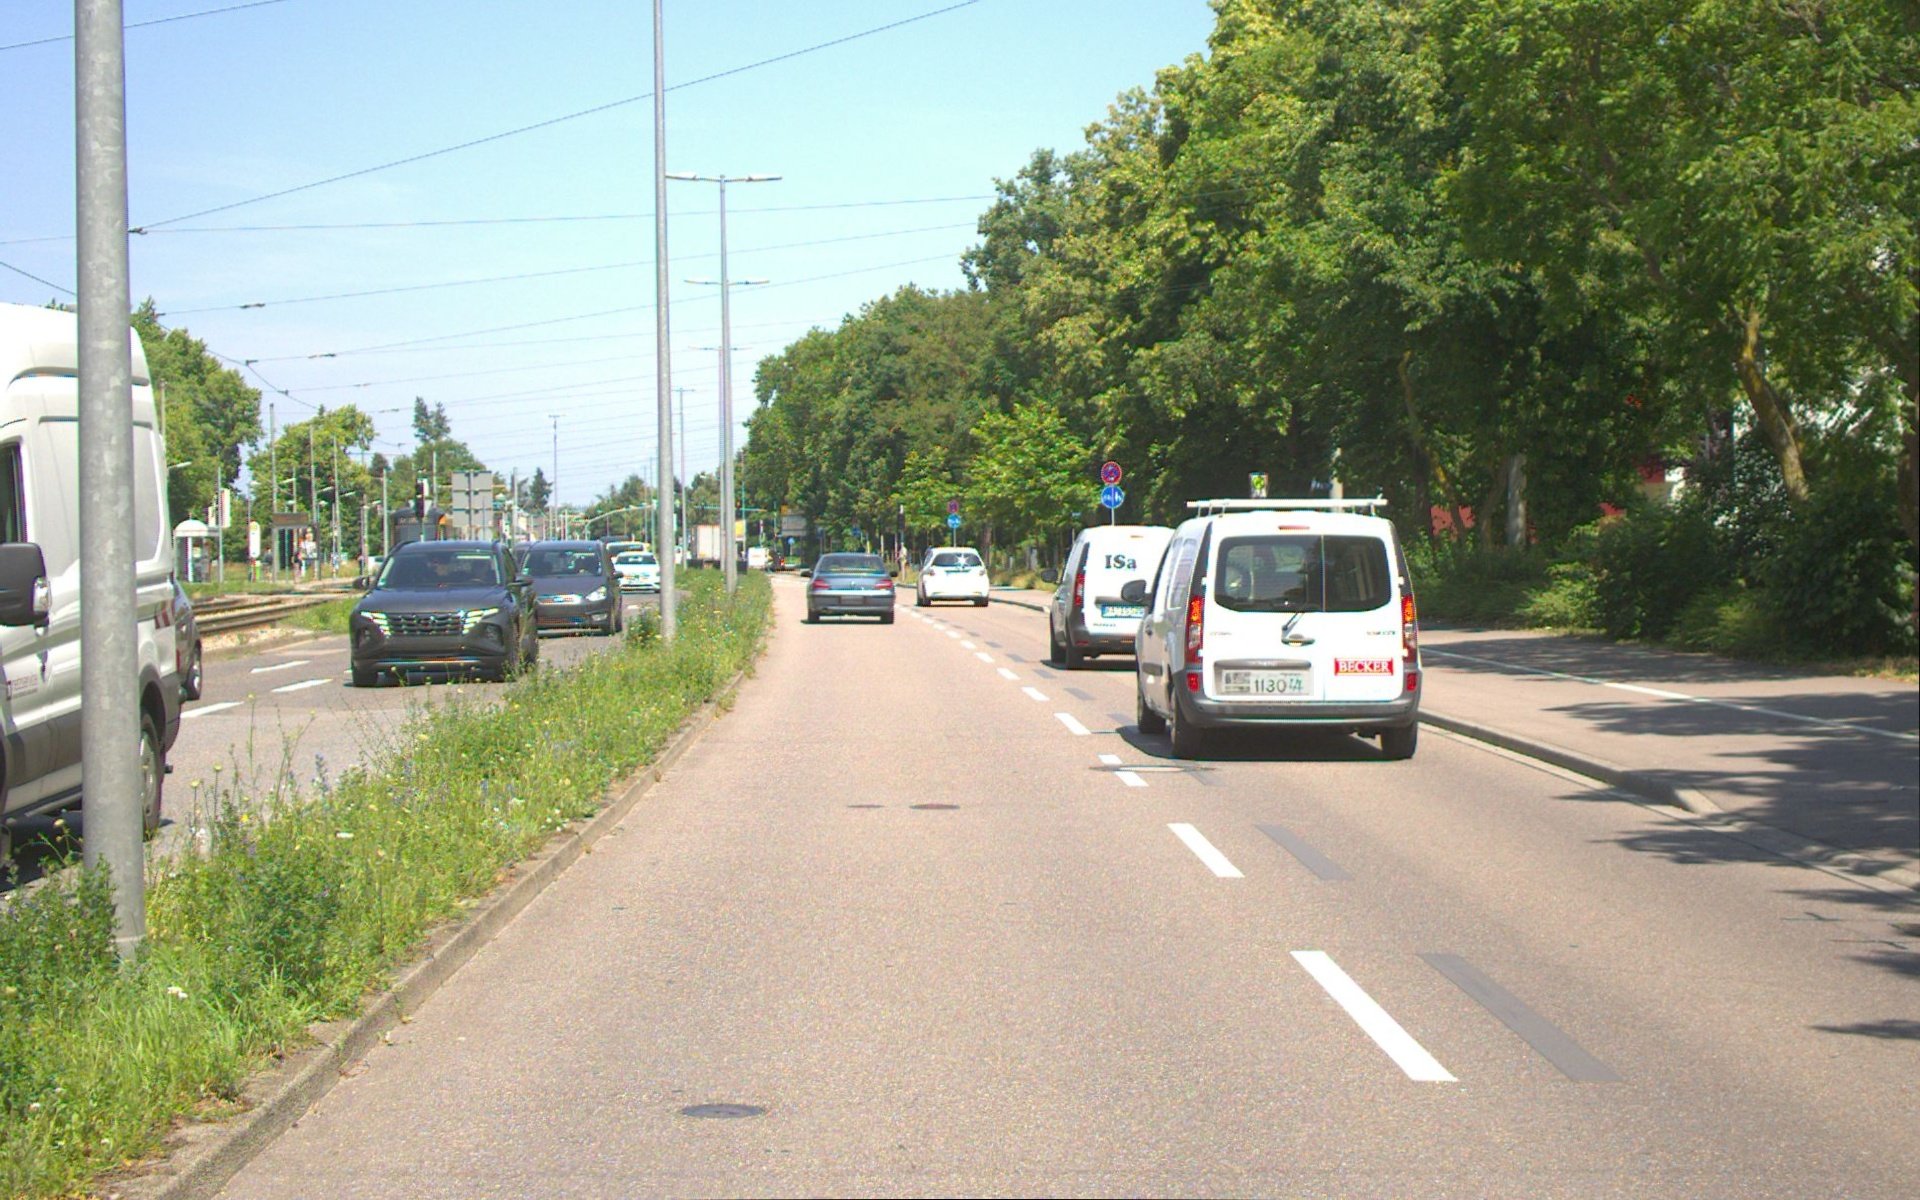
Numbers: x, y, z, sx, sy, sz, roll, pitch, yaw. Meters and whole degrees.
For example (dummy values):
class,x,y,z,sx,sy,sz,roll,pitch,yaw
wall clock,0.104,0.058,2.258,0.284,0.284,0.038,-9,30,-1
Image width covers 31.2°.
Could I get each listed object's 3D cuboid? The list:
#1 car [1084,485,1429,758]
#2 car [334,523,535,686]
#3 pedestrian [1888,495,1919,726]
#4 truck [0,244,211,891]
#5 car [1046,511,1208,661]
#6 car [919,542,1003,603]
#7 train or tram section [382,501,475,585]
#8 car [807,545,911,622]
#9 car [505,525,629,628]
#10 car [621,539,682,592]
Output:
class,x,y,z,sx,sy,sz,roll,pitch,yaw
car,2.142,0.120,26.084,1.824,1.875,4.457,1,1,-5
car,-6.120,0.005,40.453,1.829,1.750,4.489,-2,1,-3
pedestrian,7.124,0.069,24.670,0.668,1.638,0.856,0,1,-2
truck,-5.137,-0.153,16.051,2.081,2.739,5.547,-2,1,-1
car,2.084,-0.216,43.775,1.727,1.807,4.001,1,1,-2
car,-0.005,-0.710,88.839,1.803,1.534,4.001,0,1,-5
train or tram section,-25.993,-2.740,169.817,2.787,3.655,37.526,0,1,-6
car,-2.036,-0.342,68.421,1.801,1.481,4.001,0,1,-5
car,-6.980,-0.441,61.442,1.829,1.707,4.794,-2,1,-3
car,-10.718,-1.218,119.583,1.830,1.733,4.038,-2,1,-2
